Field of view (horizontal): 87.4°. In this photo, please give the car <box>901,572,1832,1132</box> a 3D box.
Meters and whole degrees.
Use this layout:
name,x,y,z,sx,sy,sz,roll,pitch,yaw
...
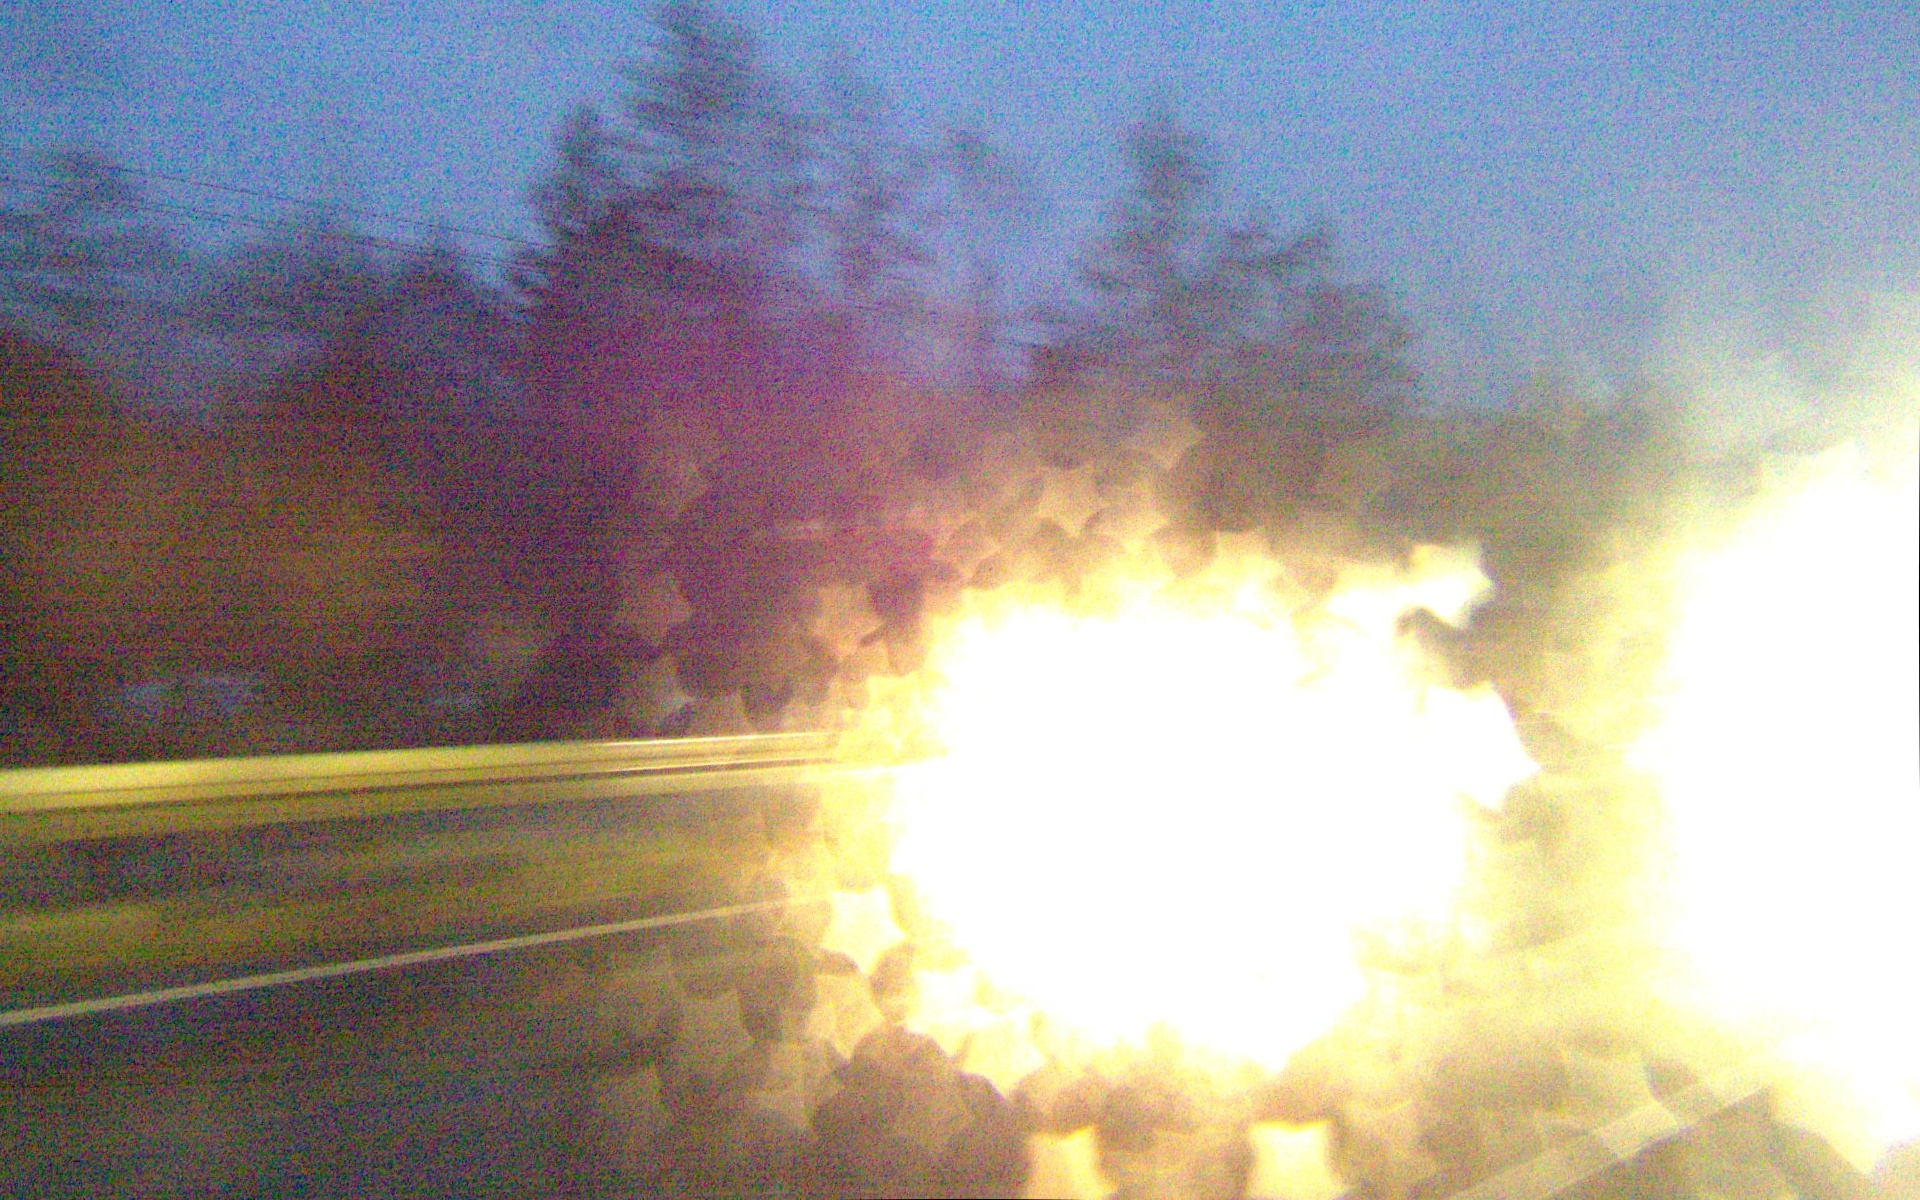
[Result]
name,x,y,z,sx,sy,sz,roll,pitch,yaw
car,2.082,0.755,4.752,4.390,1.575,1.821,1,-1,-31
